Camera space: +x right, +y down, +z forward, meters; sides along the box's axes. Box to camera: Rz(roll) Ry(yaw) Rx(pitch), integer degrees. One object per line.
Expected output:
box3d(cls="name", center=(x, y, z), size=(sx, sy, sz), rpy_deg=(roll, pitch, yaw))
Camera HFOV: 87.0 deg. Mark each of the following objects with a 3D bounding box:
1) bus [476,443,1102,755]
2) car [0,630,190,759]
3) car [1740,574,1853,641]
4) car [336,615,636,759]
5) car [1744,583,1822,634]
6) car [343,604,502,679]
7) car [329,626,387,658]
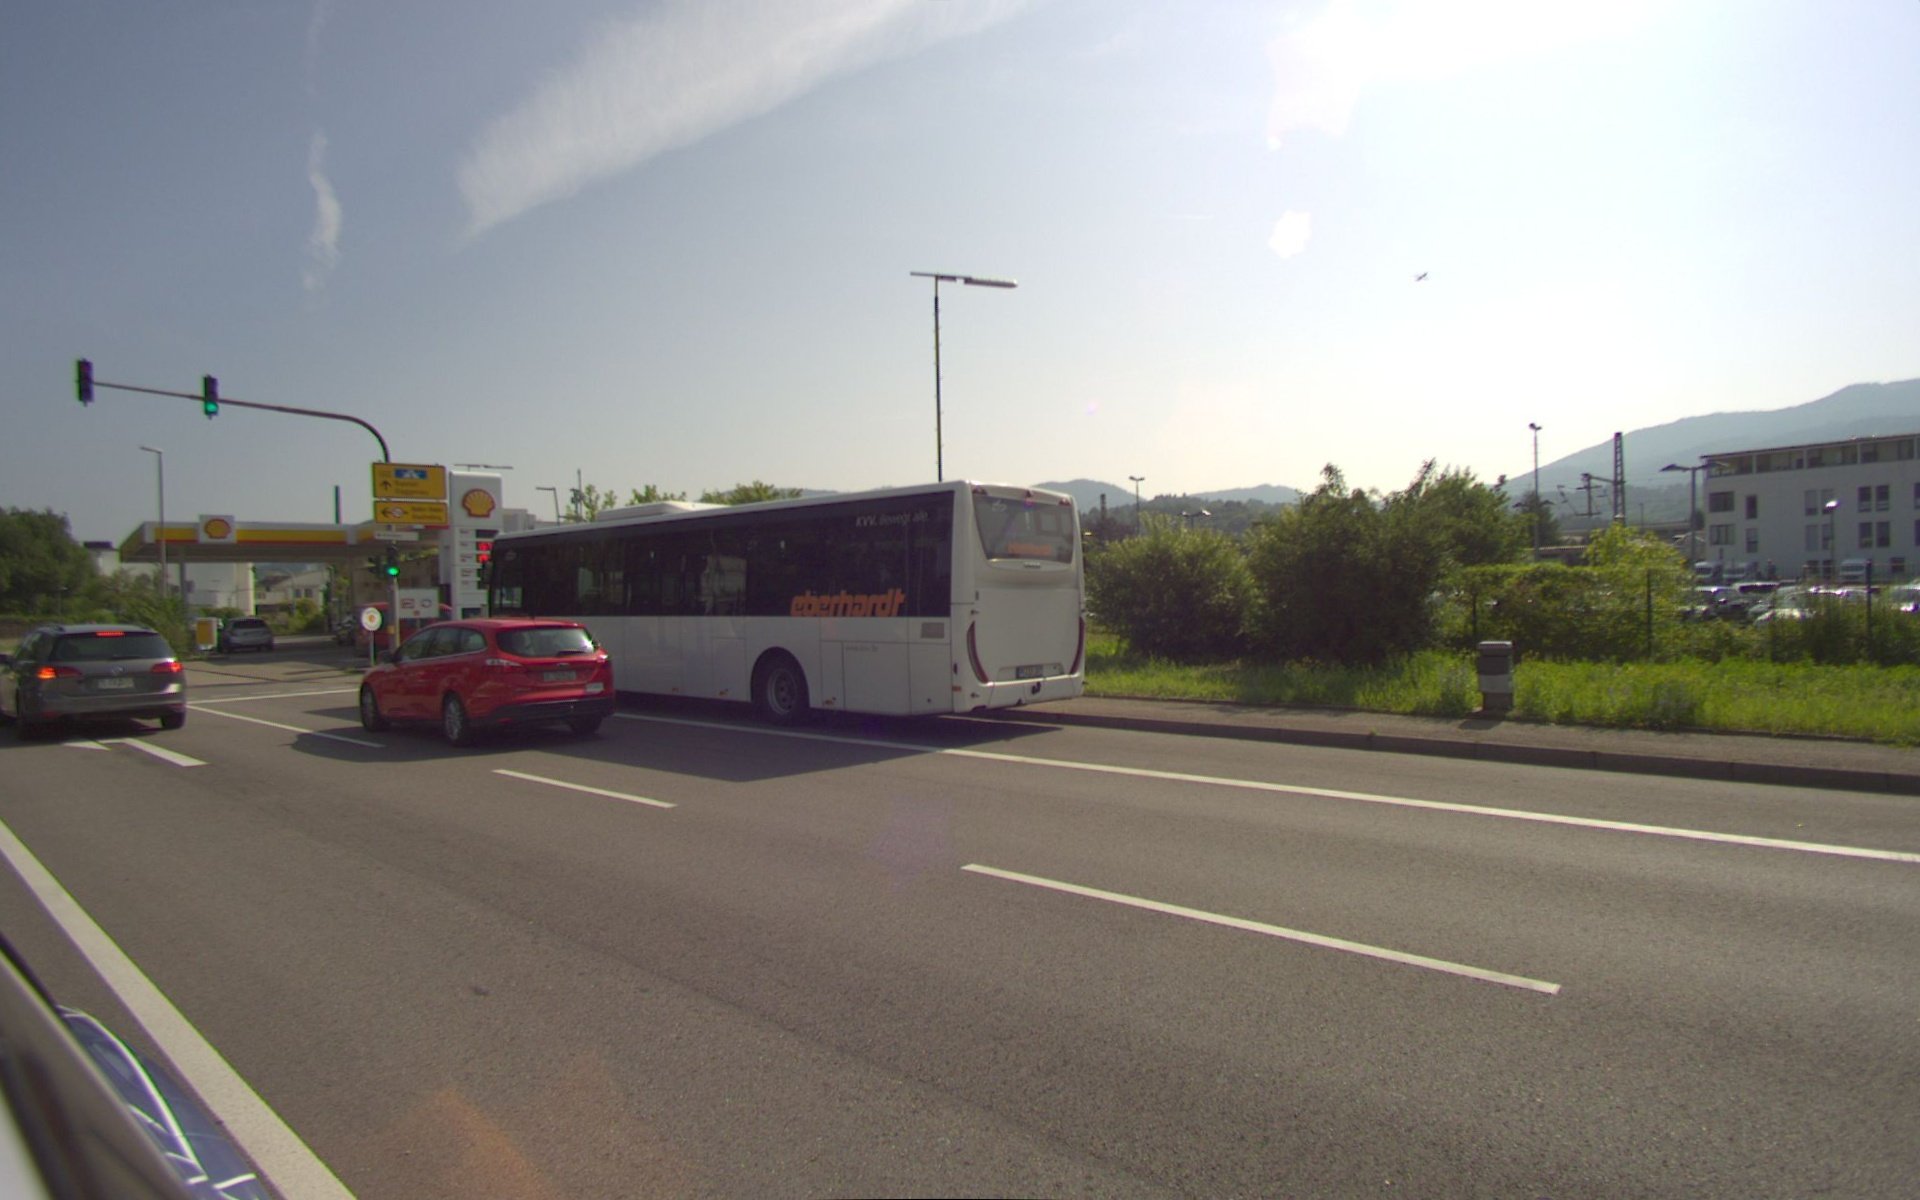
box3d(cls="bus", center=(-3.573, 0.106, 15.724), size=(11.950, 3.335, 2.593), rpy_deg=(-2, -1, 41))
box3d(cls="car", center=(-12.256, 1.175, 14.048), size=(4.218, 1.484, 1.753), rpy_deg=(-2, -1, 42))
box3d(cls="car", center=(21.092, 0.196, 25.674), size=(1.997, 1.563, 3.950), rpy_deg=(-1, -1, 37))
box3d(cls="car", center=(-6.138, 0.975, 12.870), size=(4.429, 1.503, 1.818), rpy_deg=(-2, -1, 41))
box3d(cls="car", center=(25.216, 0.265, 31.107), size=(1.694, 1.440, 3.821), rpy_deg=(-1, -1, 37))
box3d(cls="car", center=(-15.748, 1.174, 29.752), size=(3.732, 1.809, 1.703), rpy_deg=(-6, 2, -44))
box3d(cls="car", center=(-28.750, 1.968, 48.319), size=(1.608, 1.422, 4.233), rpy_deg=(0, -1, -42))
